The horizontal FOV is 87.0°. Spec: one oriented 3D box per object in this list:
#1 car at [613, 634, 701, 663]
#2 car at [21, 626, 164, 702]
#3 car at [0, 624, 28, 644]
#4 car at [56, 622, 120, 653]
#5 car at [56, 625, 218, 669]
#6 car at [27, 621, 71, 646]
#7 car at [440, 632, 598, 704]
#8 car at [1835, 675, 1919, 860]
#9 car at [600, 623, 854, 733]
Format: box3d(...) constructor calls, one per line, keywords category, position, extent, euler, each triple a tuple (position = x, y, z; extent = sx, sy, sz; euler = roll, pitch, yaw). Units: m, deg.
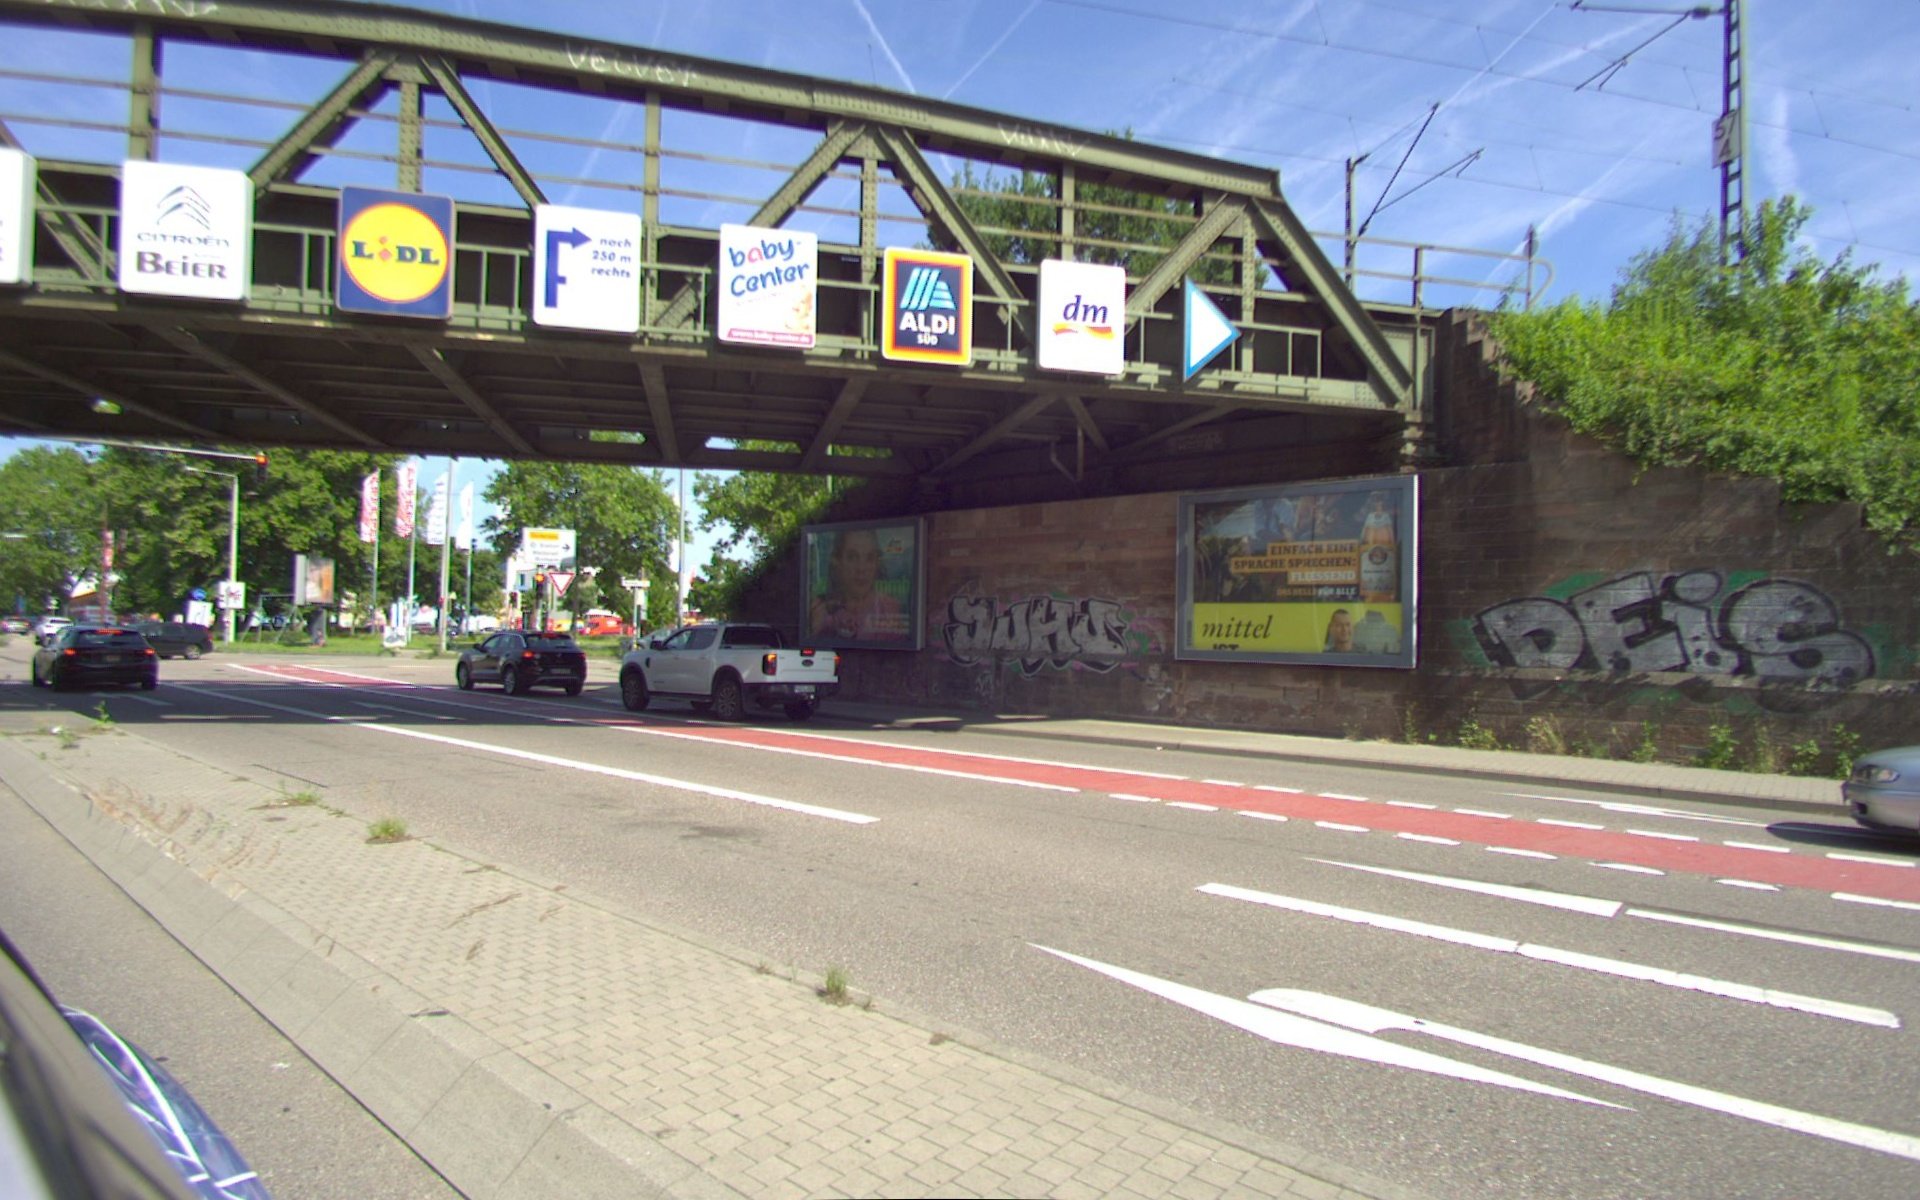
box3d(category="car", position=(-16.241, 2.606, 54.440), extent=(4.384, 1.426, 1.708), euler=(2, -2, -14))
box3d(category="car", position=(-19.174, 1.356, 22.315), extent=(4.118, 1.458, 1.762), euler=(0, -3, 41))
box3d(category="car", position=(-84.712, 3.016, 90.143), extent=(3.820, 1.735, 1.904), euler=(-1, -1, 38))
box3d(category="car", position=(-49.050, 2.104, 57.017), extent=(1.794, 1.654, 4.690), euler=(3, -3, -30))
box3d(category="car", position=(-32.211, 1.848, 39.832), extent=(1.687, 1.585, 4.904), euler=(1, -2, 13))
box3d(category="car", position=(-66.515, 2.410, 73.889), extent=(3.632, 1.735, 1.802), euler=(-1, -1, 38))
box3d(category="car", position=(-11.040, 1.626, 25.219), extent=(4.384, 1.608, 1.853), euler=(-1, -3, 41))
box3d(category="car", position=(9.221, 1.328, 7.343), extent=(4.316, 1.398, 1.618), euler=(-1, -4, 41))
box3d(category="car", position=(-4.726, 1.460, 19.992), extent=(5.447, 1.875, 1.973), euler=(-1, -5, 41))
